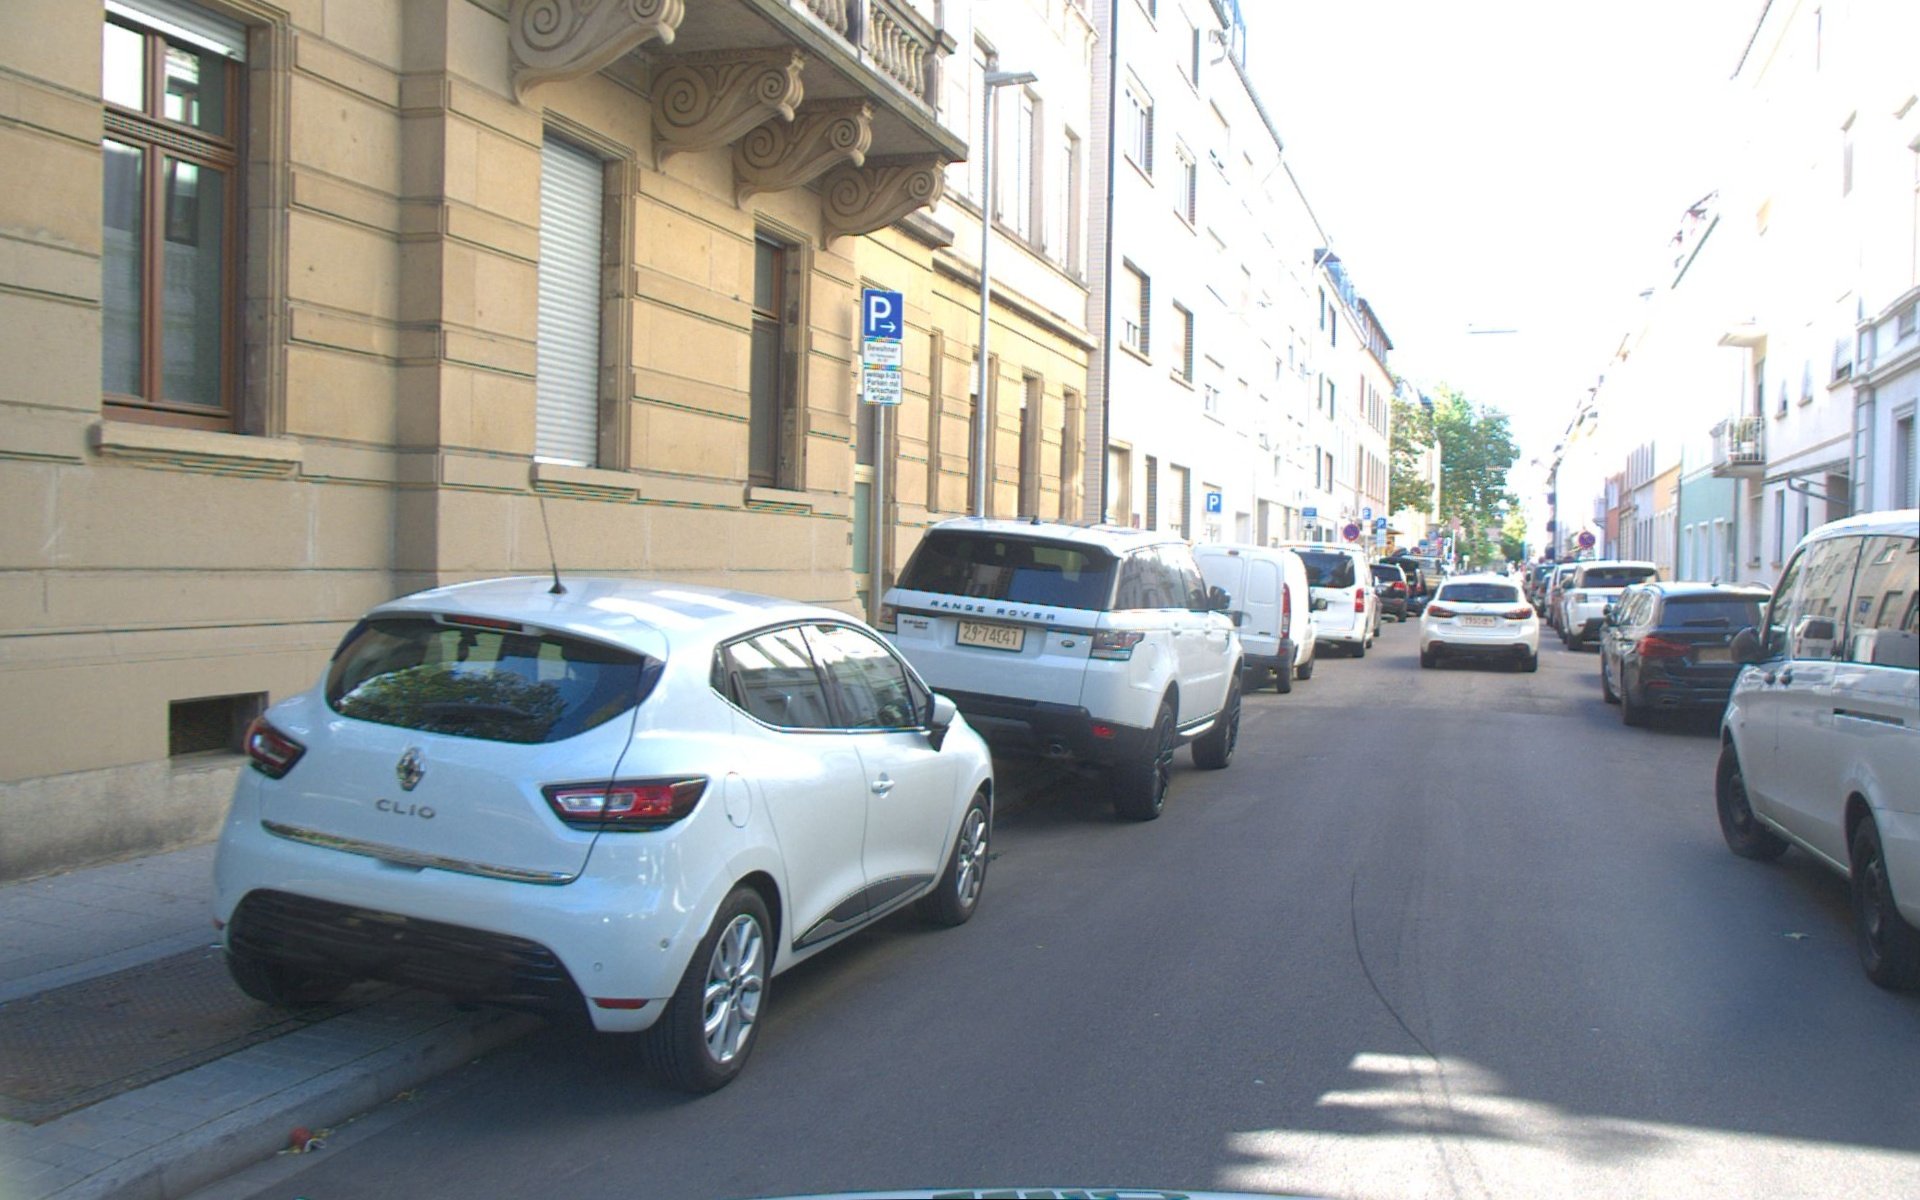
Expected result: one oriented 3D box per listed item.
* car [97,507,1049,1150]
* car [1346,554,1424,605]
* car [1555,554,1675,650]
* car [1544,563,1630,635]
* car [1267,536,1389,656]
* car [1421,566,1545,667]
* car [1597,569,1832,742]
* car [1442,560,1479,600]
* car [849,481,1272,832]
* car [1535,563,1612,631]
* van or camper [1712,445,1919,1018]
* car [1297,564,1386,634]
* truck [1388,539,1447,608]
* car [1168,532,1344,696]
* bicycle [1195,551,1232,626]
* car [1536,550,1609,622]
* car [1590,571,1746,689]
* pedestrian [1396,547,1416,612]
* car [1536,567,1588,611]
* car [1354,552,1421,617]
[{"bbox_3d":[-1.035,0.565,6.420,1.828,1.588,3.945,3,1,16],"label":"car"},{"bbox_3d":[15.534,-0.762,60.252,2.390,1.735,5.245,2,1,18],"label":"car"},{"bbox_3d":[13.495,-0.031,34.304,1.963,1.814,4.942,1,2,18],"label":"car"},{"bbox_3d":[15.036,-0.067,39.816,1.705,1.596,4.035,1,2,18],"label":"car"},{"bbox_3d":[7.012,-0.143,31.191,1.854,1.992,4.785,3,2,16],"label":"car"},{"bbox_3d":[8.621,0.239,27.116,1.796,1.512,4.058,-1,0,19],"label":"car"},{"bbox_3d":[8.257,0.493,18.500,1.777,1.545,4.730,3,2,18],"label":"car"},{"bbox_3d":[24.775,-1.023,82.000,1.612,1.900,4.003,1,1,16],"label":"car"},{"bbox_3d":[0.970,0.274,12.104,1.979,2.048,4.545,1,1,18],"label":"car"},{"bbox_3d":[16.272,-0.104,44.001,1.547,1.660,3.685,3,2,16],"label":"car"},{"bbox_3d":[4.956,0.428,7.774,1.854,2.048,5.035,1,2,16],"label":"van or camper"},{"bbox_3d":[8.855,-0.063,38.202,1.671,1.475,4.304,2,1,17],"label":"car"},{"bbox_3d":[18.625,-1.026,67.512,2.111,2.635,6.254,1,0,14],"label":"truck"},{"bbox_3d":[4.146,0.109,22.701,1.708,1.908,4.092,5,3,18],"label":"car"},{"bbox_3d":[5.452,-0.252,35.517,0.545,1.535,1.802,3,2,15],"label":"bicycle"},{"bbox_3d":[18.110,-0.417,49.040,1.744,1.995,4.339,1,1,17],"label":"car"},{"bbox_3d":[10.401,0.371,24.533,1.710,1.473,3.872,3,2,18],"label":"car"},{"bbox_3d":[15.557,-0.708,57.679,0.606,2.268,0.688,1,-1,18],"label":"pedestrian"},{"bbox_3d":[23.221,-0.462,63.903,1.705,1.596,4.035,1,2,18],"label":"car"},{"bbox_3d":[13.380,-0.529,51.758,1.840,1.785,4.547,4,3,15],"label":"car"}]
